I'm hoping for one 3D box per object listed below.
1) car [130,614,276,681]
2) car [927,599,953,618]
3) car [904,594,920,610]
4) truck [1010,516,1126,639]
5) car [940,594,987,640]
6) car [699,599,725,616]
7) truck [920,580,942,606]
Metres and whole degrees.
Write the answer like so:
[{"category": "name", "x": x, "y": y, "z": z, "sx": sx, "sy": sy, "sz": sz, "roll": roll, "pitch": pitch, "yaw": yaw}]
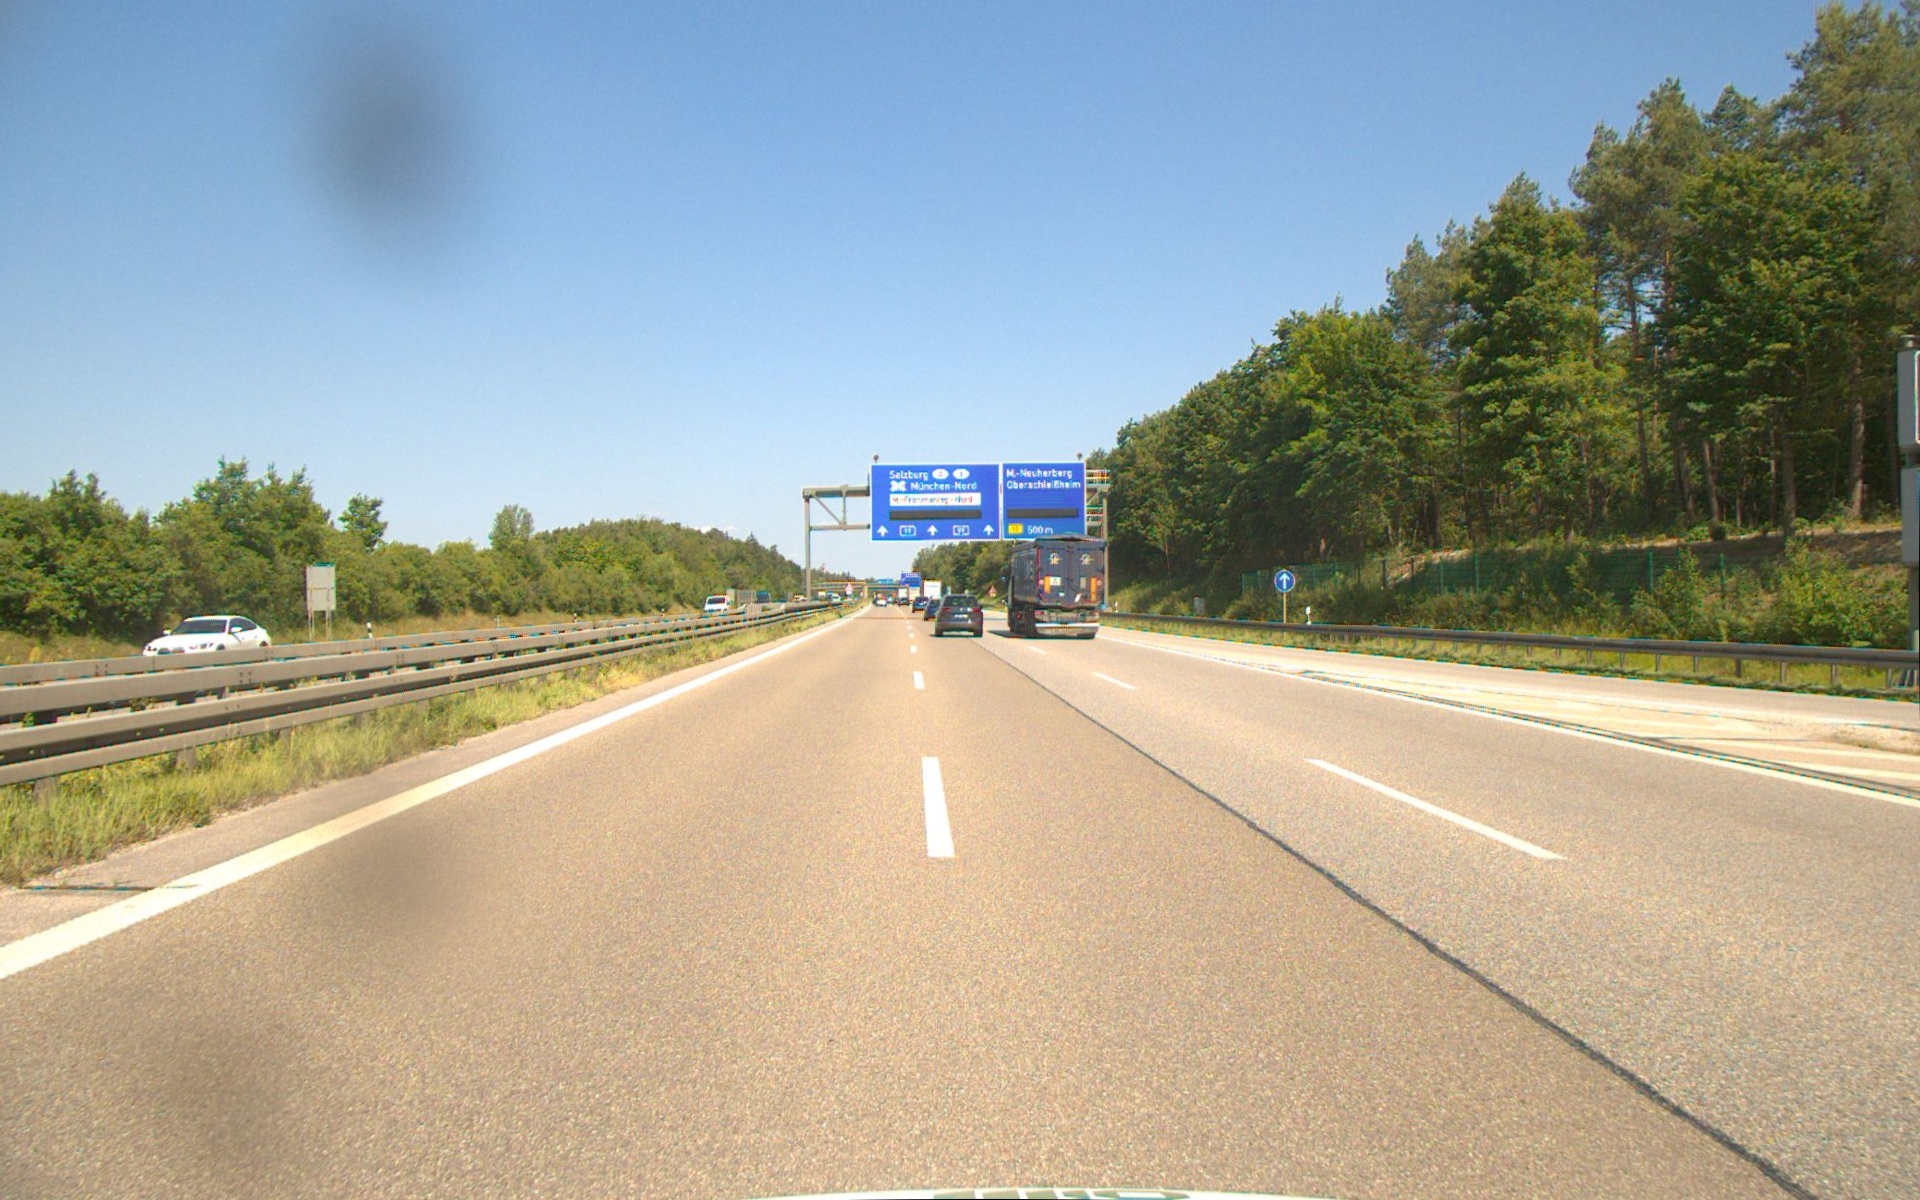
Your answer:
[{"category": "car", "x": -20.158, "y": 1.227, "z": 44.248, "sx": 1.953, "sy": 1.621, "sz": 4.300, "roll": 0, "pitch": 0, "yaw": -1}, {"category": "car", "x": -1.318, "y": 0.554, "z": 108.362, "sx": 1.674, "sy": 1.176, "sz": 3.689, "roll": -1, "pitch": 0, "yaw": -1}, {"category": "car", "x": -4.775, "y": 0.190, "z": 164.859, "sx": 1.441, "sy": 1.422, "sz": 3.410, "roll": 2, "pitch": 0, "yaw": -1}, {"category": "truck", "x": 4.141, "y": -0.850, "z": 67.218, "sx": 3.703, "sy": 4.499, "sz": 14.049, "roll": 0, "pitch": 0, "yaw": -1}, {"category": "car", "x": 0.135, "y": 0.625, "z": 65.042, "sx": 1.762, "sy": 1.698, "sz": 4.258, "roll": 1, "pitch": 1, "yaw": 0}, {"category": "car", "x": -19.992, "y": 0.579, "z": 133.287, "sx": 1.571, "sy": 1.322, "sz": 3.790, "roll": 0, "pitch": 0, "yaw": -1}, {"category": "truck", "x": -4.570, "y": -1.104, "z": 258.238, "sx": 3.366, "sy": 3.861, "sz": 13.349, "roll": 0, "pitch": 0, "yaw": -1}]
